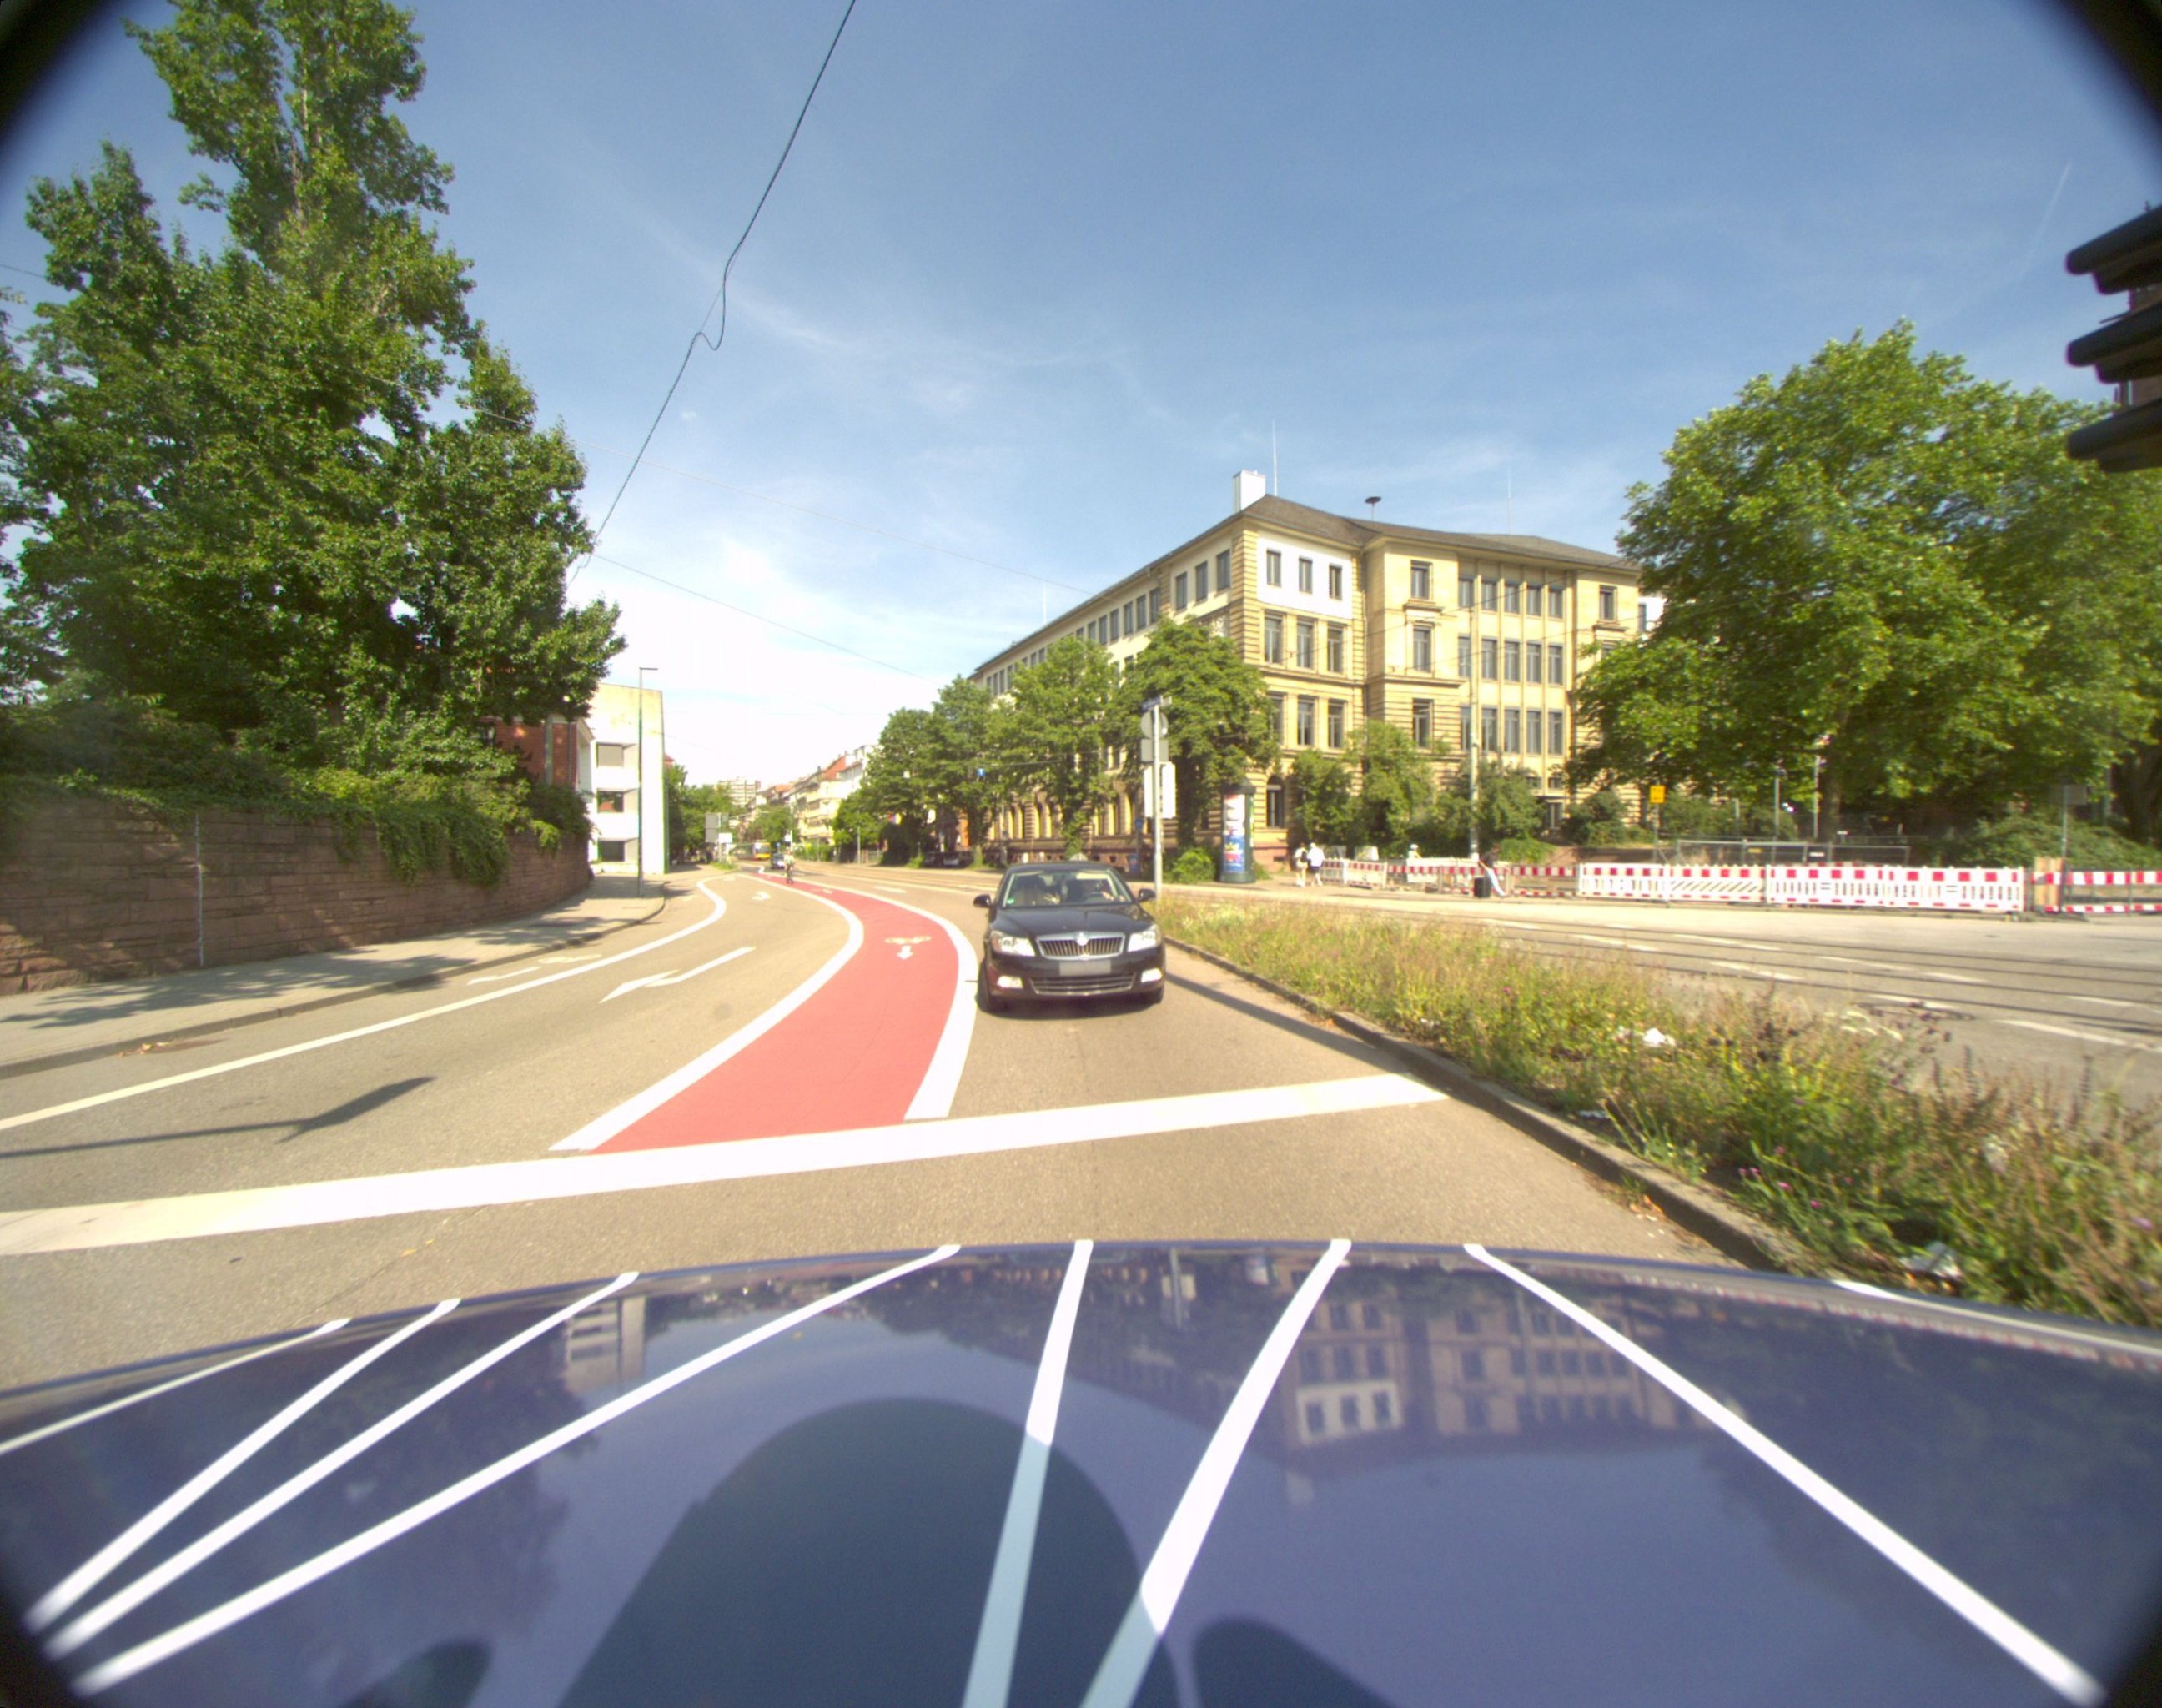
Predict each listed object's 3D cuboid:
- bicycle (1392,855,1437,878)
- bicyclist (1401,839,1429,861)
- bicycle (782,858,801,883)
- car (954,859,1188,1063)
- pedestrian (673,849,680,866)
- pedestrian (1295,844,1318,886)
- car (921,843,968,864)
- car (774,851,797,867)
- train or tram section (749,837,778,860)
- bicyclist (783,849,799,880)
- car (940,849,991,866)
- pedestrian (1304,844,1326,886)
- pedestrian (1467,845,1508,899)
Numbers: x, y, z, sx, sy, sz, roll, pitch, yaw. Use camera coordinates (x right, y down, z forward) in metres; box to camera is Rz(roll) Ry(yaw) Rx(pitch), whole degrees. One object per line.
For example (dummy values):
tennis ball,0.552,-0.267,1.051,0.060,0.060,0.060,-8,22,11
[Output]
bicycle,14.236,0.531,32.449,0.703,0.941,1.661,-1,1,-33
bicyclist,14.250,-0.193,32.404,0.684,0.922,0.867,-1,1,-33
bicycle,-14.886,0.851,39.049,0.687,1.215,2.181,-1,1,-26
car,-0.156,0.865,8.470,1.864,1.510,4.825,0,1,-2
pedestrian,-36.145,0.309,67.913,0.550,1.559,0.929,-1,1,-29
pedestrian,9.357,0.439,31.513,0.743,1.740,0.586,1,1,41
car,-12.990,-0.054,72.485,4.006,2.002,1.995,0,1,-30
car,-27.332,0.438,70.255,1.805,1.368,4.267,0,1,-24
train or tram section,-55.368,-0.988,132.199,3.221,3.838,14.553,-1,1,-28
bicyclist,-14.865,0.518,38.943,0.589,1.539,0.929,-3,2,-25
car,-10.233,0.289,67.446,4.006,1.455,1.995,0,1,-30
pedestrian,9.842,0.440,31.940,0.743,1.740,0.586,0,1,39
pedestrian,12.518,0.540,23.404,0.938,1.646,0.845,0,1,15
